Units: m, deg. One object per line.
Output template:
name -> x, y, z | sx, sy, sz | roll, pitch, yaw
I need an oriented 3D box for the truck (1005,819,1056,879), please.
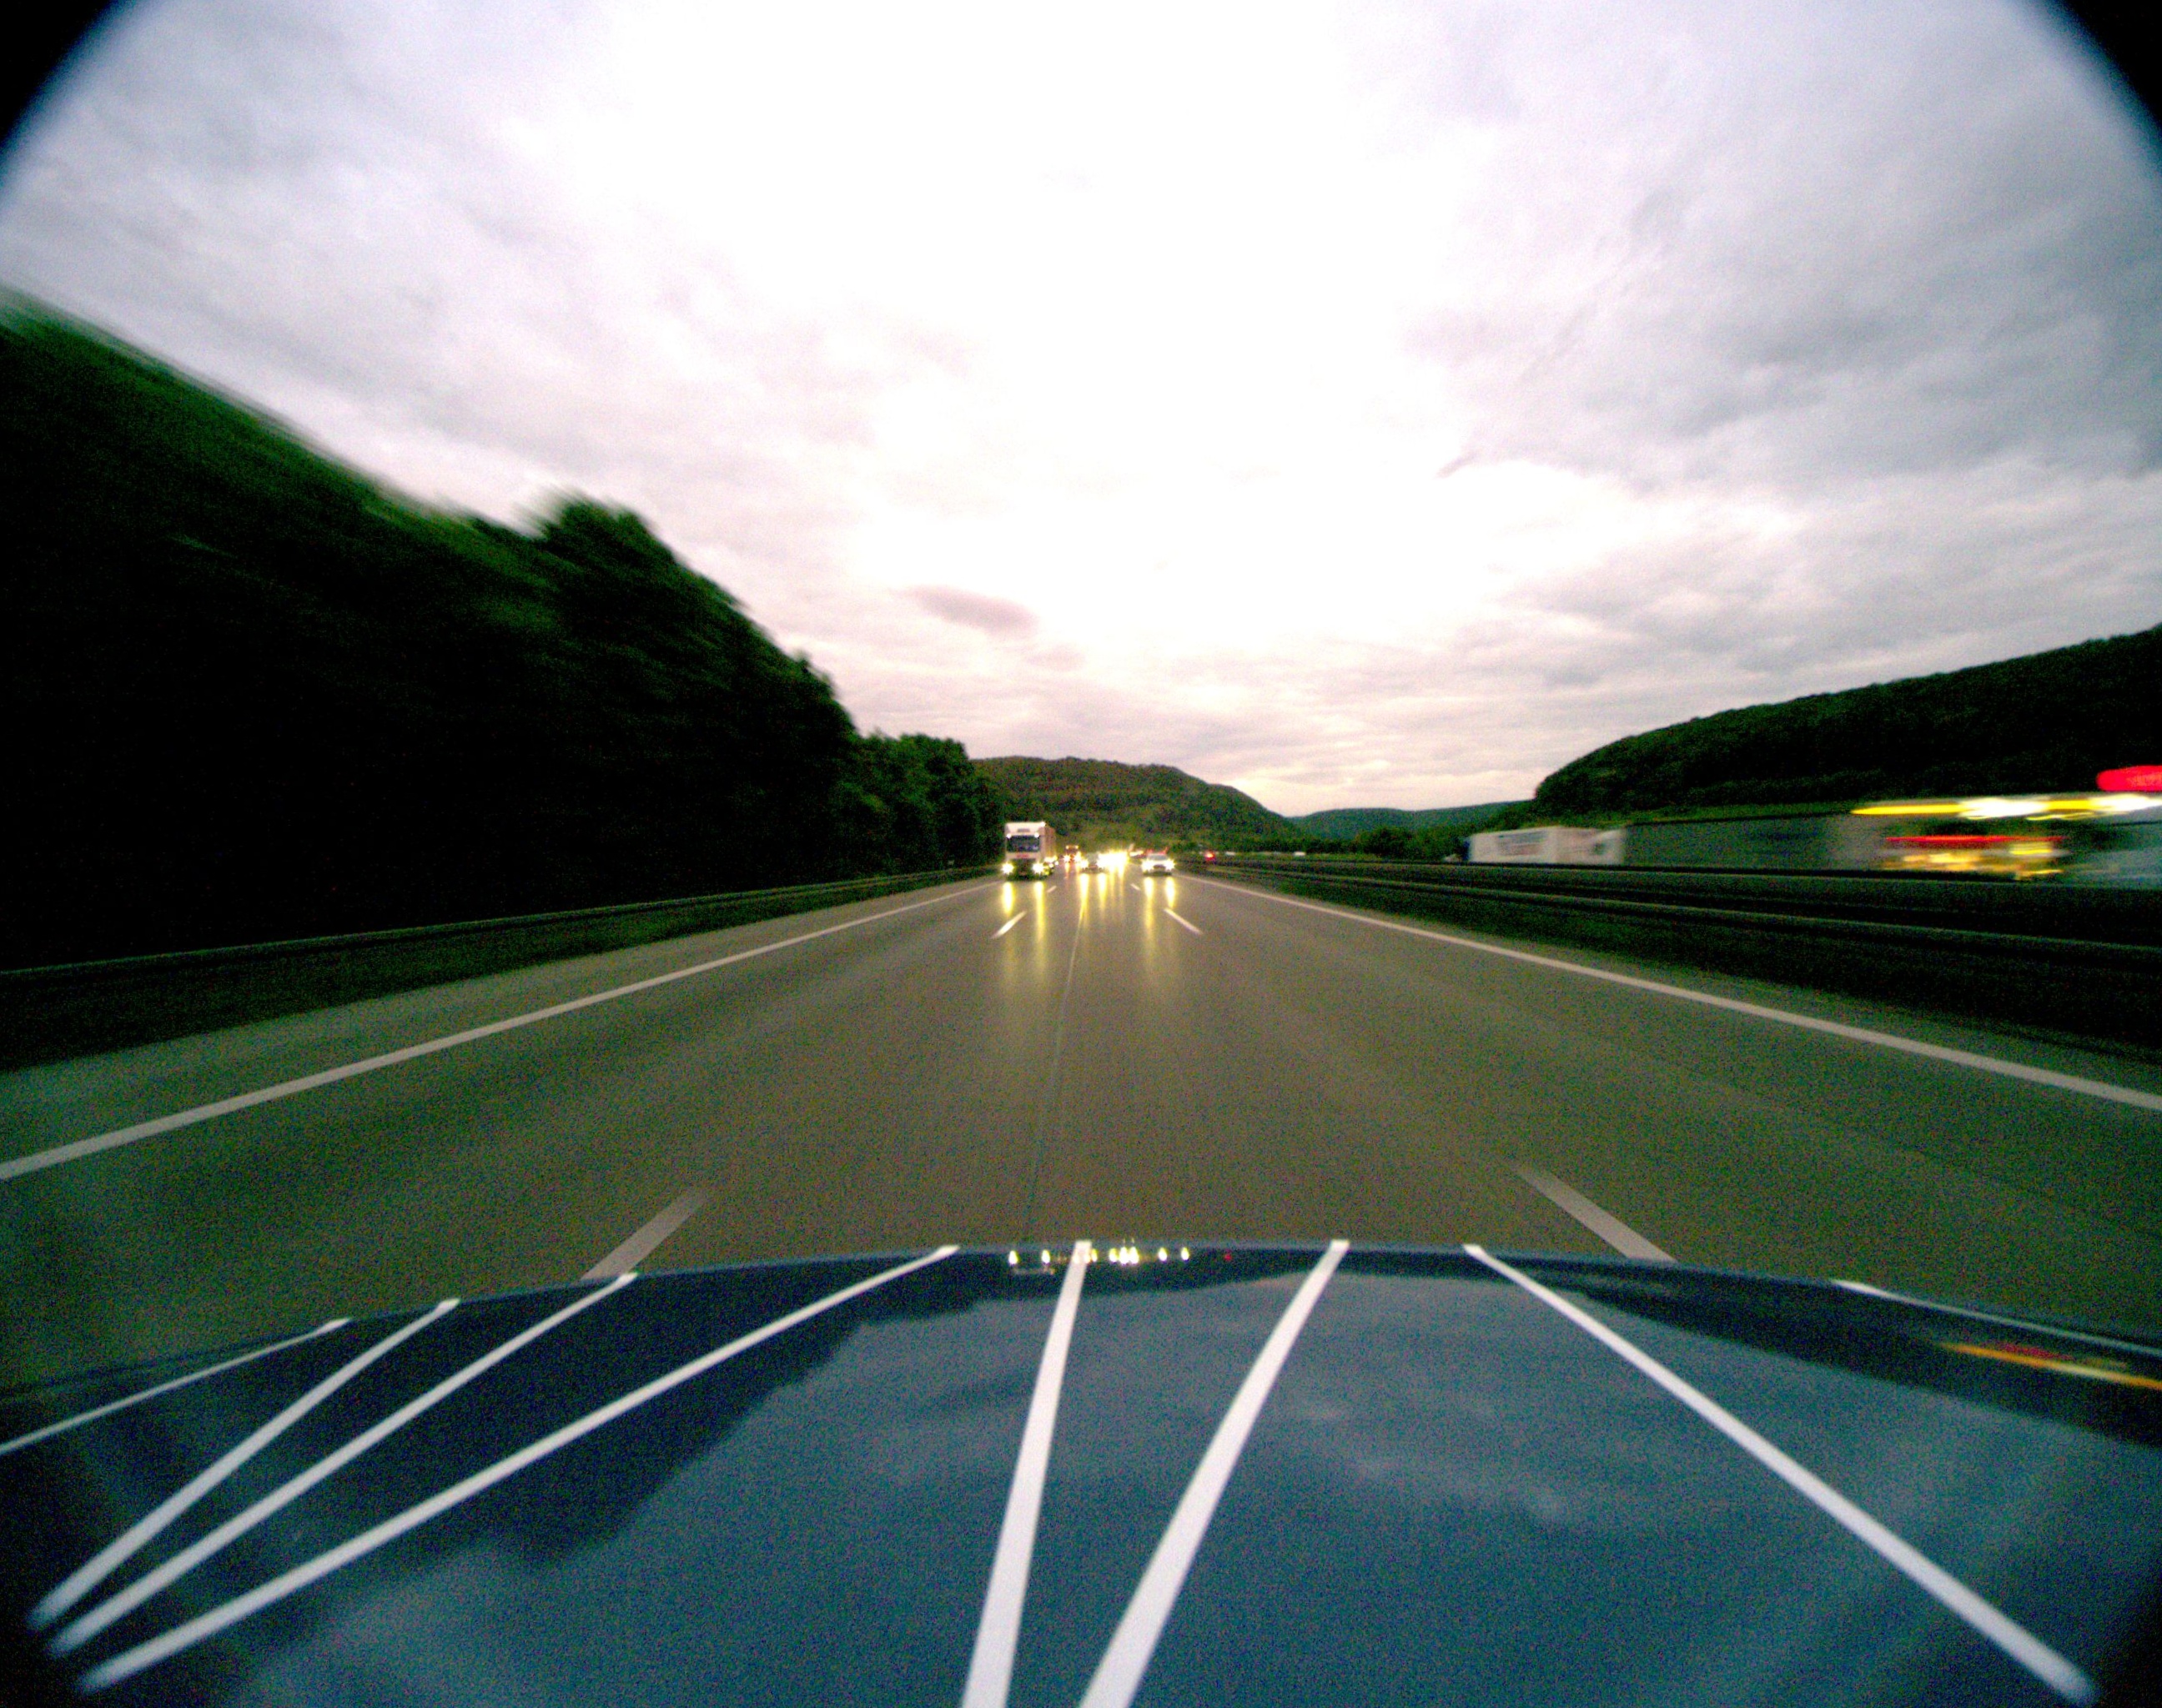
truck -> -3.329, -0.391, 53.218 | 2.623, 3.805, 10.385 | -1, 1, 1

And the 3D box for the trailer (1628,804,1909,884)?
trailer -> 34.933, -0.461, 39.979 | 2.880, 3.405, 13.571 | -1, 0, 2

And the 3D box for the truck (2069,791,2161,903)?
truck -> 34.323, -0.235, 21.977 | 2.880, 3.405, 6.727 | -1, 0, 2

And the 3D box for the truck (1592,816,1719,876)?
truck -> 35.179, -0.483, 46.924 | 2.880, 3.405, 6.726 | -1, 0, 2

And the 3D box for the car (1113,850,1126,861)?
car -> 6.340, 0.284, 125.600 | 1.894, 1.650, 5.638 | -1, 1, 0

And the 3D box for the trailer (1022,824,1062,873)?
trailer -> -3.096, -0.483, 62.857 | 2.623, 3.805, 8.877 | -1, 1, 1

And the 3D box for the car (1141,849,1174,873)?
car -> 5.310, 0.460, 53.388 | 1.794, 1.492, 5.037 | -2, 0, 0

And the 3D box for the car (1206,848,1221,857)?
car -> 23.191, -0.244, 133.261 | 1.998, 1.584, 4.740 | -1, 0, 1

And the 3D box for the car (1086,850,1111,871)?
car -> 1.426, 0.498, 62.404 | 1.927, 1.674, 4.806 | 0, 1, 1

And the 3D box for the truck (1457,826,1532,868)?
truck -> 35.934, -0.598, 66.357 | 2.880, 3.356, 7.175 | -1, 0, 2

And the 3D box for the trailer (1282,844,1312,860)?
trailer -> 44.531, -0.462, 157.166 | 2.874, 3.070, 11.158 | 0, 1, 0

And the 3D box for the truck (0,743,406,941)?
truck -> -24.964, -0.253, 16.790 | 3.785, 4.205, 19.517 | 0, 1, -4

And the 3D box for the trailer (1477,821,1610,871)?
trailer -> 35.637, -0.595, 59.521 | 2.880, 3.405, 13.225 | -1, 0, 2

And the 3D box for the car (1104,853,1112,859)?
car -> 6.750, 0.522, 189.723 | 1.898, 1.503, 4.000 | -1, 1, 1

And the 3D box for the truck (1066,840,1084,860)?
truck -> -1.192, -0.885, 158.841 | 3.119, 3.850, 14.163 | 2, 1, 2

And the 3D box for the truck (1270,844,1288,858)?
truck -> 44.912, -0.613, 172.550 | 2.874, 3.070, 5.304 | 0, 1, 2
